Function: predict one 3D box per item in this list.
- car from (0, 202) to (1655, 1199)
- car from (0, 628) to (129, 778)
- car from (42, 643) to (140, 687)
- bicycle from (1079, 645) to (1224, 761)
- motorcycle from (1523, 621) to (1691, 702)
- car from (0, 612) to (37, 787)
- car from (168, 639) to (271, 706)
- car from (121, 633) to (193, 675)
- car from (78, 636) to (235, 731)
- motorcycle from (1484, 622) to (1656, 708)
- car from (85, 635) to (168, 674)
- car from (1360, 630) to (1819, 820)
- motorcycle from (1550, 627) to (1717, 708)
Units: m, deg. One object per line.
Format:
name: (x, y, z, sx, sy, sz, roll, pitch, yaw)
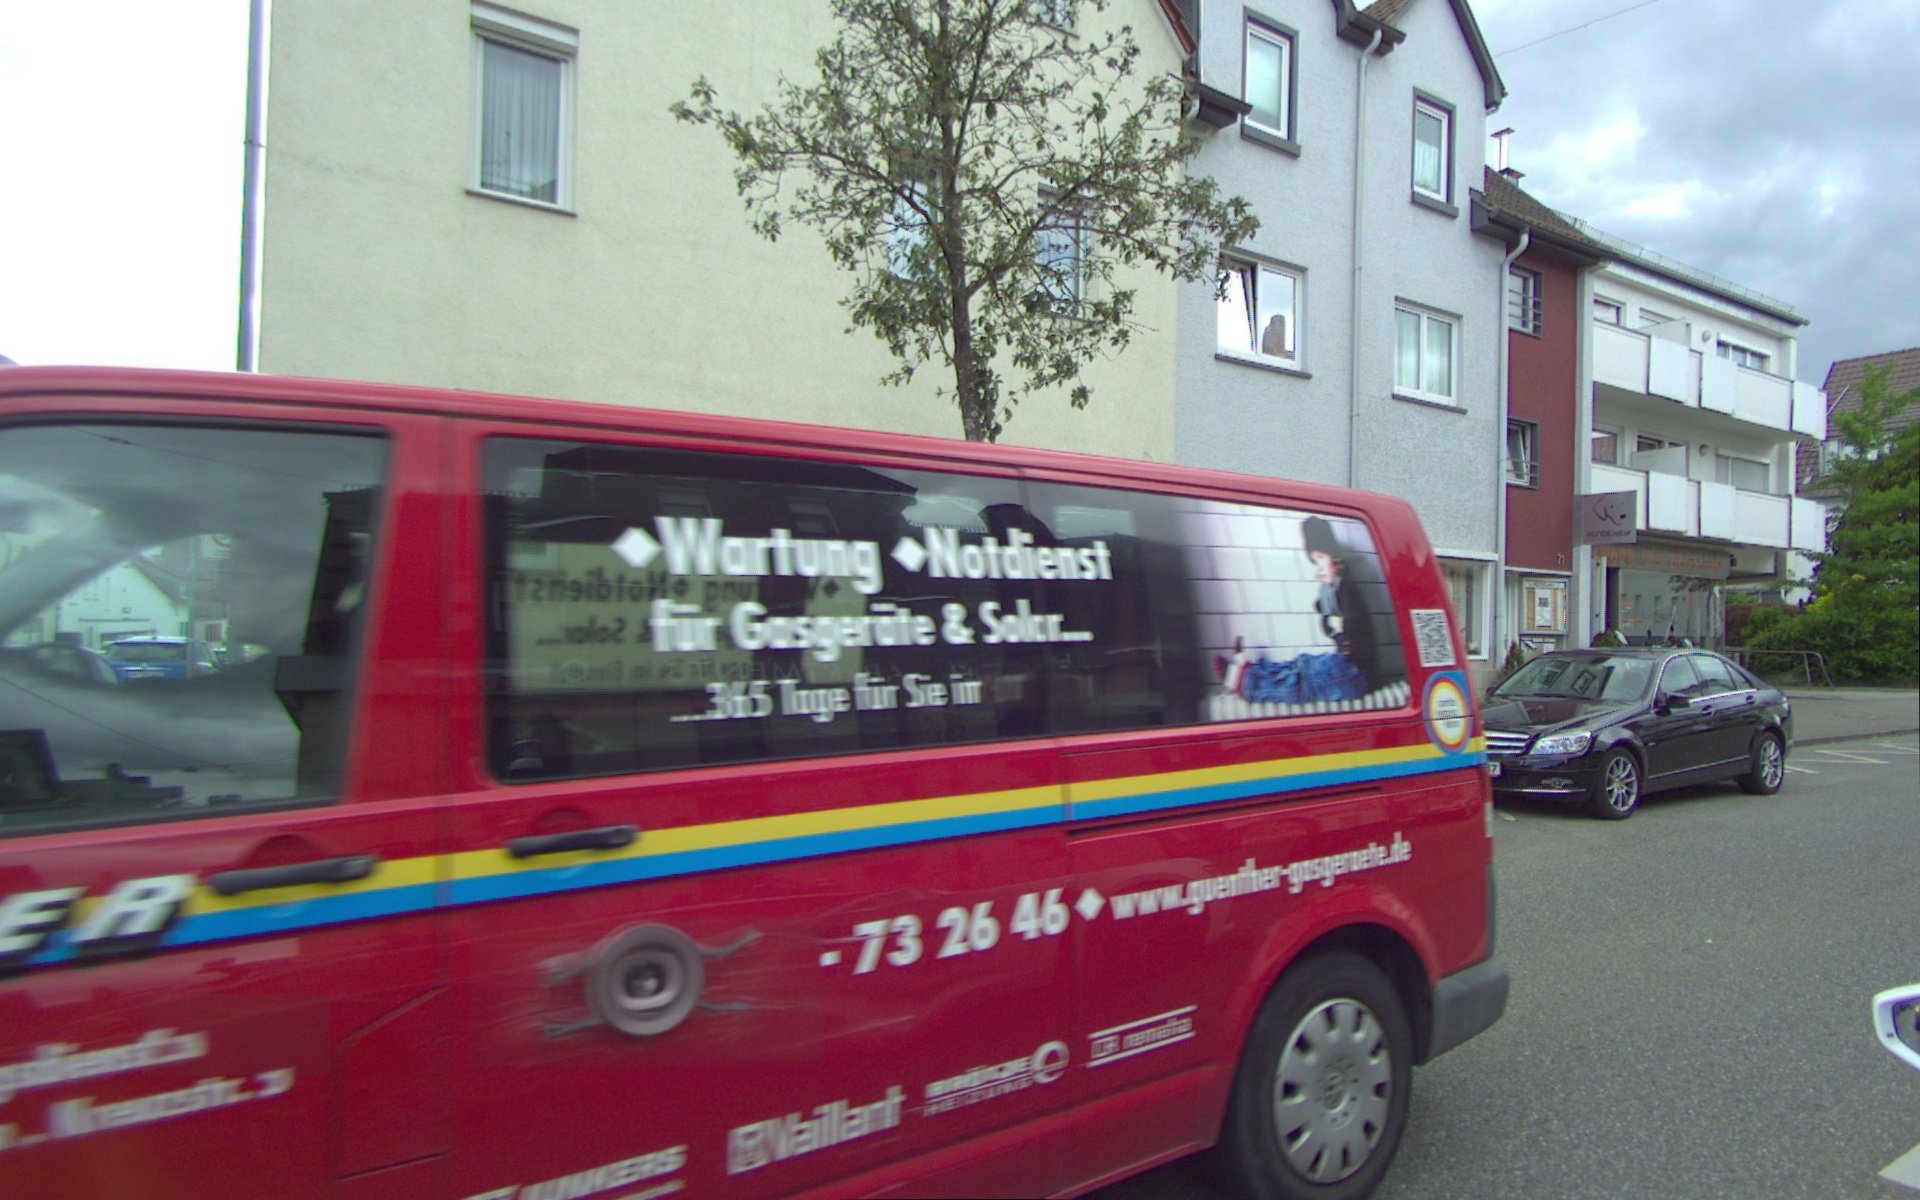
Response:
car: (-0.590, 0.585, 2.655, 5.161, 1.987, 1.940, 2, -4, -30)
car: (-10.924, 1.138, 11.504, 1.652, 1.505, 3.683, 2, -4, -32)
car: (-29.878, 2.228, 34.649, 1.789, 1.435, 3.686, 2, -4, -29)
bicycle: (2.112, 1.094, 10.995, 1.648, 1.169, 0.511, 2, 0, -33)
motorcycle: (12.716, 1.173, 19.843, 0.694, 1.428, 2.686, 2, 0, -39)
car: (-8.831, 0.805, 7.782, 1.716, 1.554, 3.967, 2, -5, -32)
car: (-19.086, 1.861, 26.024, 1.650, 1.597, 3.686, 1, -4, -29)
car: (-34.957, 2.364, 43.817, 1.789, 1.744, 3.686, 1, -4, -29)
car: (-14.892, 1.521, 18.818, 1.650, 1.597, 3.686, 1, -4, -29)
motorcycle: (11.419, 1.174, 18.922, 0.694, 1.428, 2.686, 2, 0, -39)
car: (-32.179, 2.118, 38.888, 1.789, 1.435, 3.686, 2, -4, -29)
car: (6.222, 1.091, 9.847, 4.462, 1.486, 1.940, 2, -4, -30)
motorcycle: (13.466, 1.305, 20.171, 0.694, 1.428, 2.686, 2, 0, -39)
